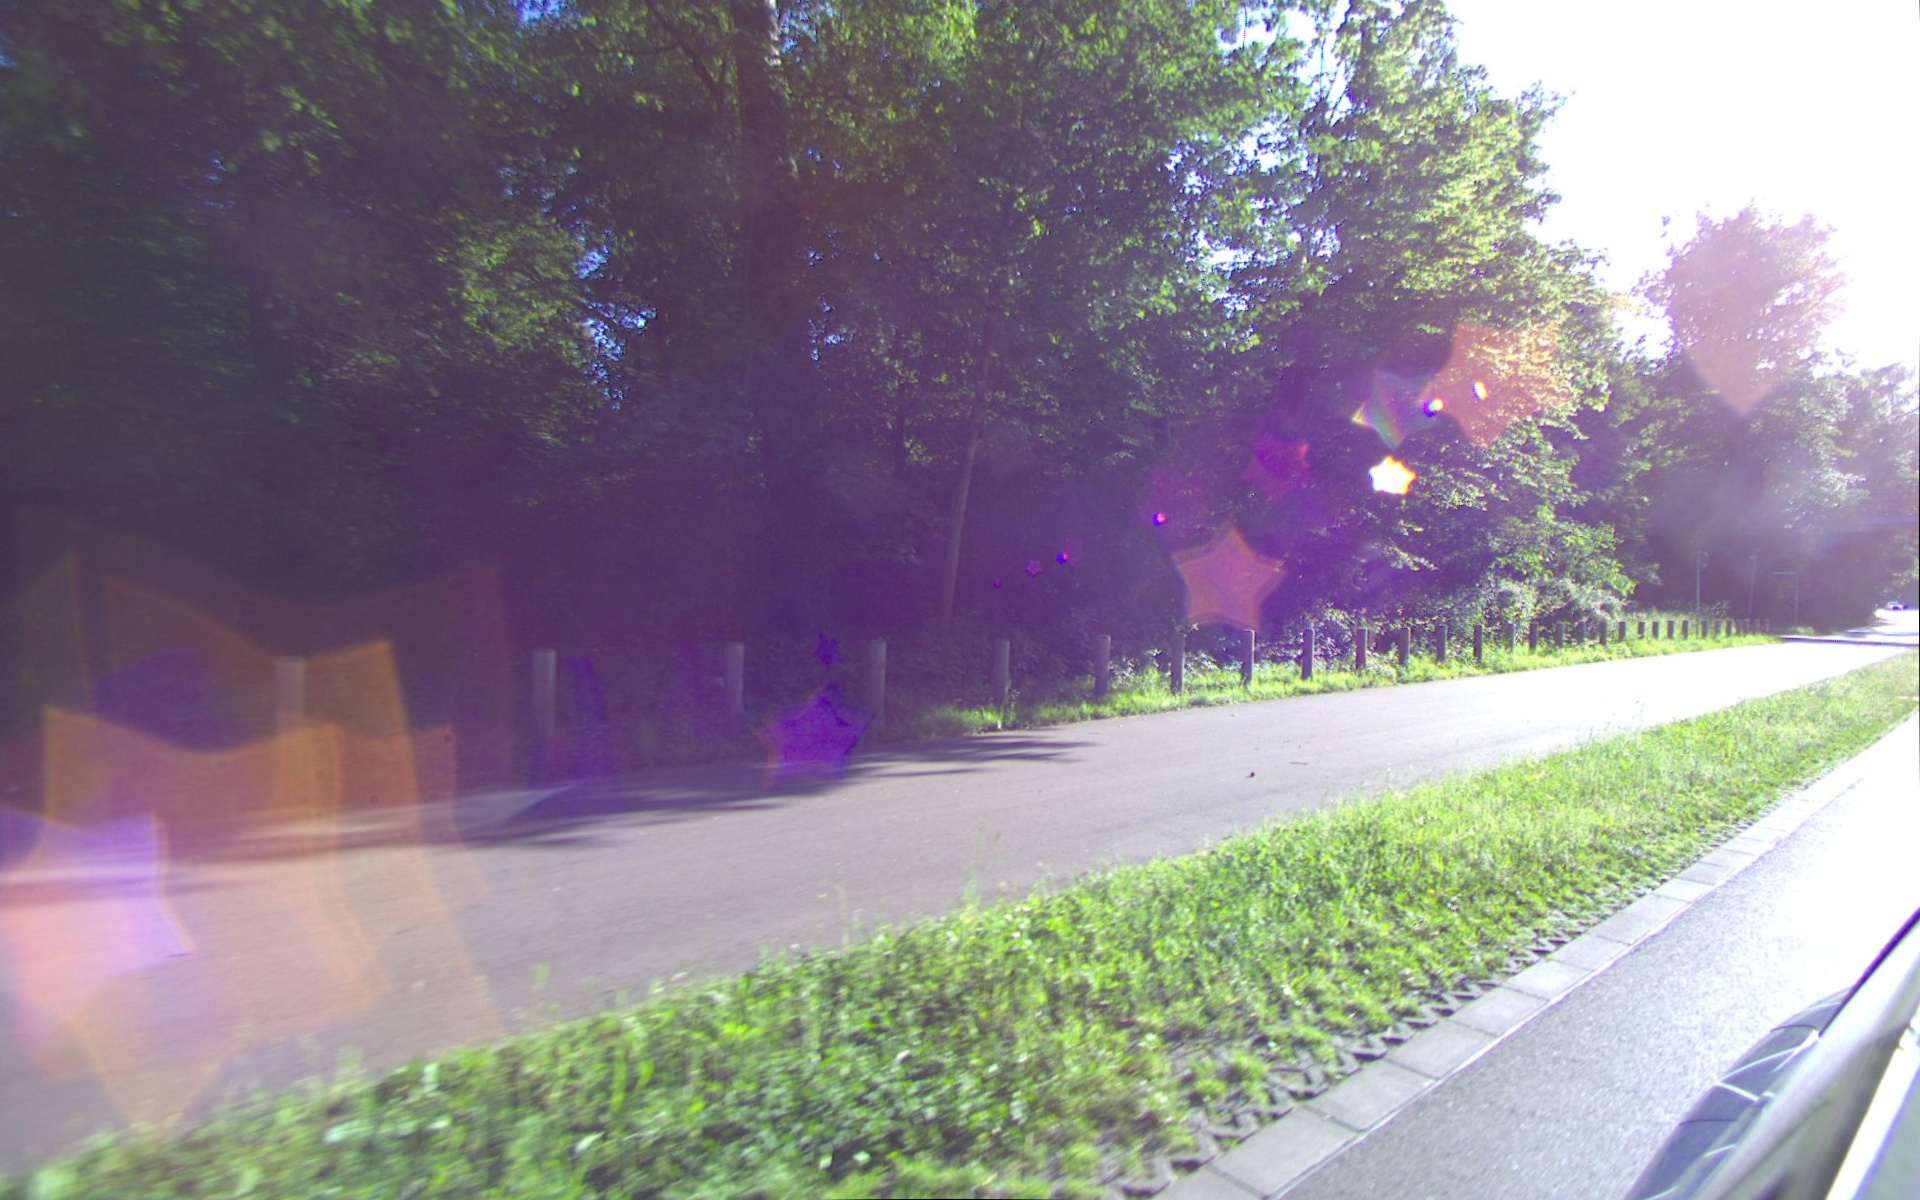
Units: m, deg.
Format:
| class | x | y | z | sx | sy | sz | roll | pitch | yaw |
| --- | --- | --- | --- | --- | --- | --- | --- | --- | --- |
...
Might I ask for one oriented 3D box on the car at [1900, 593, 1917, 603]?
| class | x | y | z | sx | sy | sz | roll | pitch | yaw |
| --- | --- | --- | --- | --- | --- | --- | --- | --- | --- |
| car | 167.595 | -0.310 | 178.789 | 1.819 | 1.705 | 3.944 | 1 | 1 | 39 |
